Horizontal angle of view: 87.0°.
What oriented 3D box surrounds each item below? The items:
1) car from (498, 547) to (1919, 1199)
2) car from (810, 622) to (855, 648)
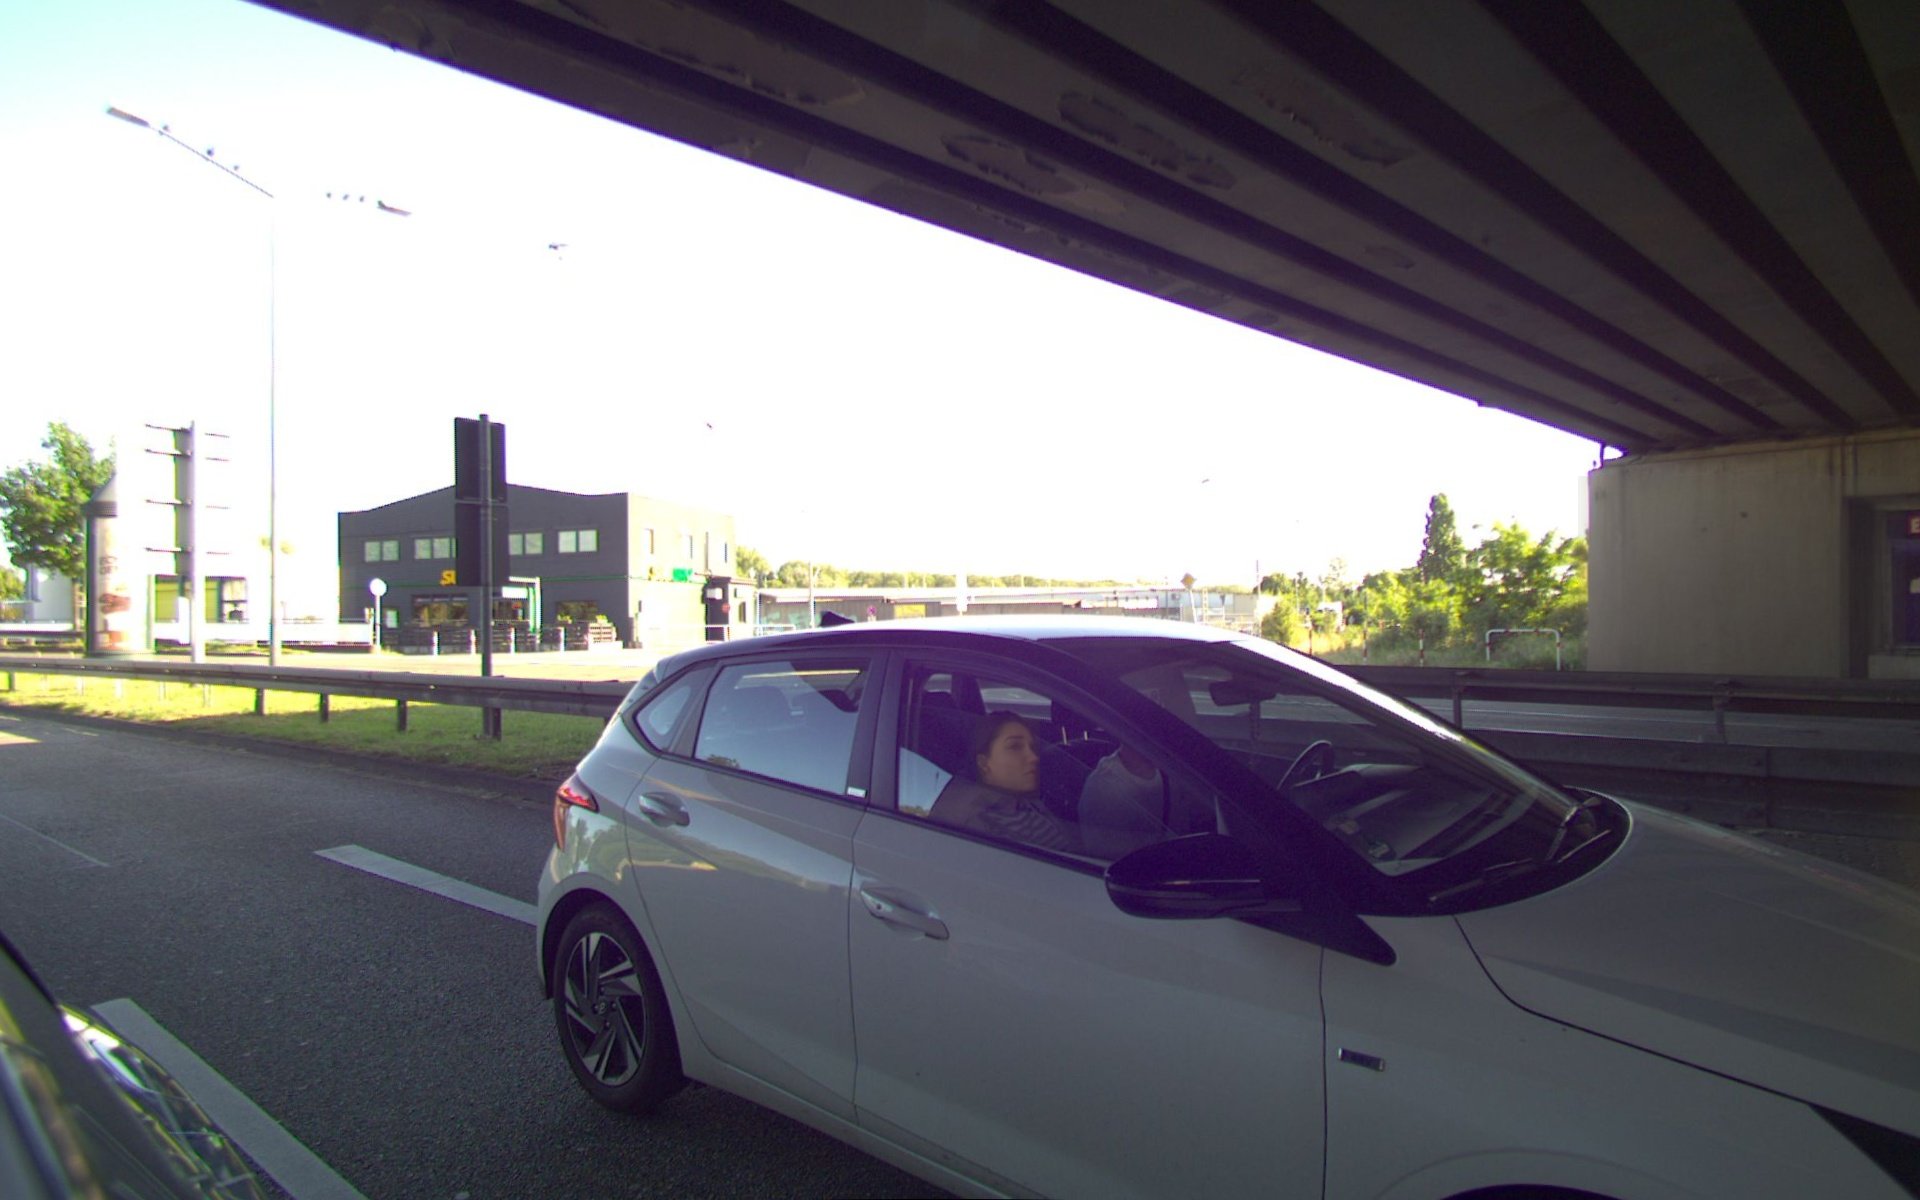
[{"bbox_3d":[0.566,0.715,2.668,3.987,1.491,1.716,-1,-1,40],"label":"car"},{"bbox_3d":[-6.865,1.921,54.961,1.806,1.291,4.180,1,-3,1],"label":"car"}]
